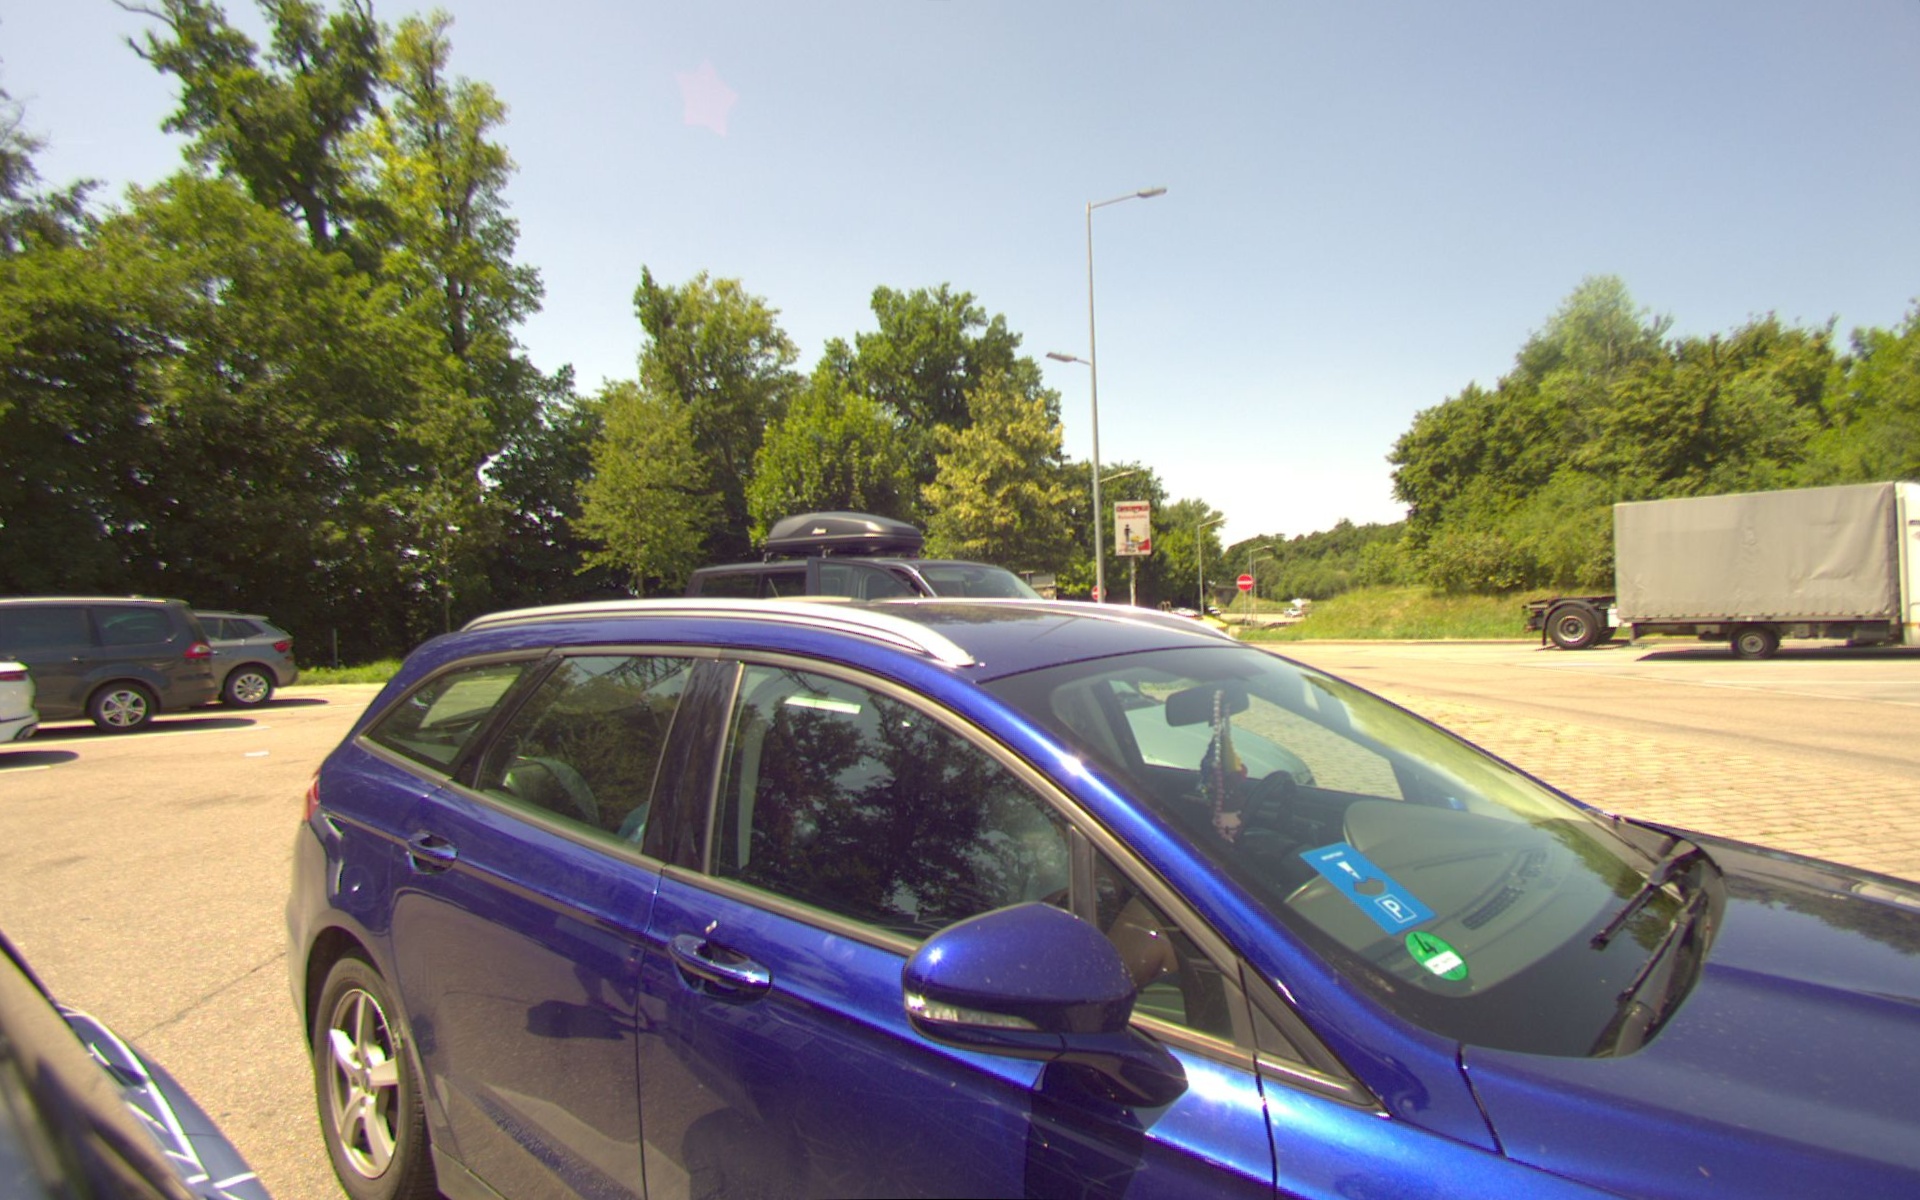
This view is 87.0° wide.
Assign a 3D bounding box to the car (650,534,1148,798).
[{"bbox_3d":[-0.728,0.535,9.412,4.426,1.875,2.022,-2,-1,40],"label":"car"}]

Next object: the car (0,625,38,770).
[{"bbox_3d":[-10.955,0.946,9.192,3.753,1.377,1.804,0,-1,-45],"label":"car"}]

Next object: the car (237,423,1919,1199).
[{"bbox_3d":[0.245,0.652,2.080,4.426,1.455,1.763,-2,-1,40],"label":"car"}]

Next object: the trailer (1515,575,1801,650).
[{"bbox_3d":[16.334,0.344,23.915,5.393,1.608,1.576,-2,-1,41],"label":"trailer"}]

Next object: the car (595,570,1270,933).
[{"bbox_3d":[-0.360,0.651,5.801,3.739,1.424,1.587,-2,-1,40],"label":"car"}]

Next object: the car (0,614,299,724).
[{"bbox_3d":[-12.592,0.974,15.606,3.753,1.488,1.743,0,-1,-45],"label":"car"}]

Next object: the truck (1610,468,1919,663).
[{"bbox_3d":[16.714,-0.620,18.842,7.308,3.258,2.294,-5,-2,43],"label":"truck"}]

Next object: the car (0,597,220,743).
[{"bbox_3d":[-11.709,0.838,12.580,3.830,1.703,1.883,0,-2,-45],"label":"car"}]
